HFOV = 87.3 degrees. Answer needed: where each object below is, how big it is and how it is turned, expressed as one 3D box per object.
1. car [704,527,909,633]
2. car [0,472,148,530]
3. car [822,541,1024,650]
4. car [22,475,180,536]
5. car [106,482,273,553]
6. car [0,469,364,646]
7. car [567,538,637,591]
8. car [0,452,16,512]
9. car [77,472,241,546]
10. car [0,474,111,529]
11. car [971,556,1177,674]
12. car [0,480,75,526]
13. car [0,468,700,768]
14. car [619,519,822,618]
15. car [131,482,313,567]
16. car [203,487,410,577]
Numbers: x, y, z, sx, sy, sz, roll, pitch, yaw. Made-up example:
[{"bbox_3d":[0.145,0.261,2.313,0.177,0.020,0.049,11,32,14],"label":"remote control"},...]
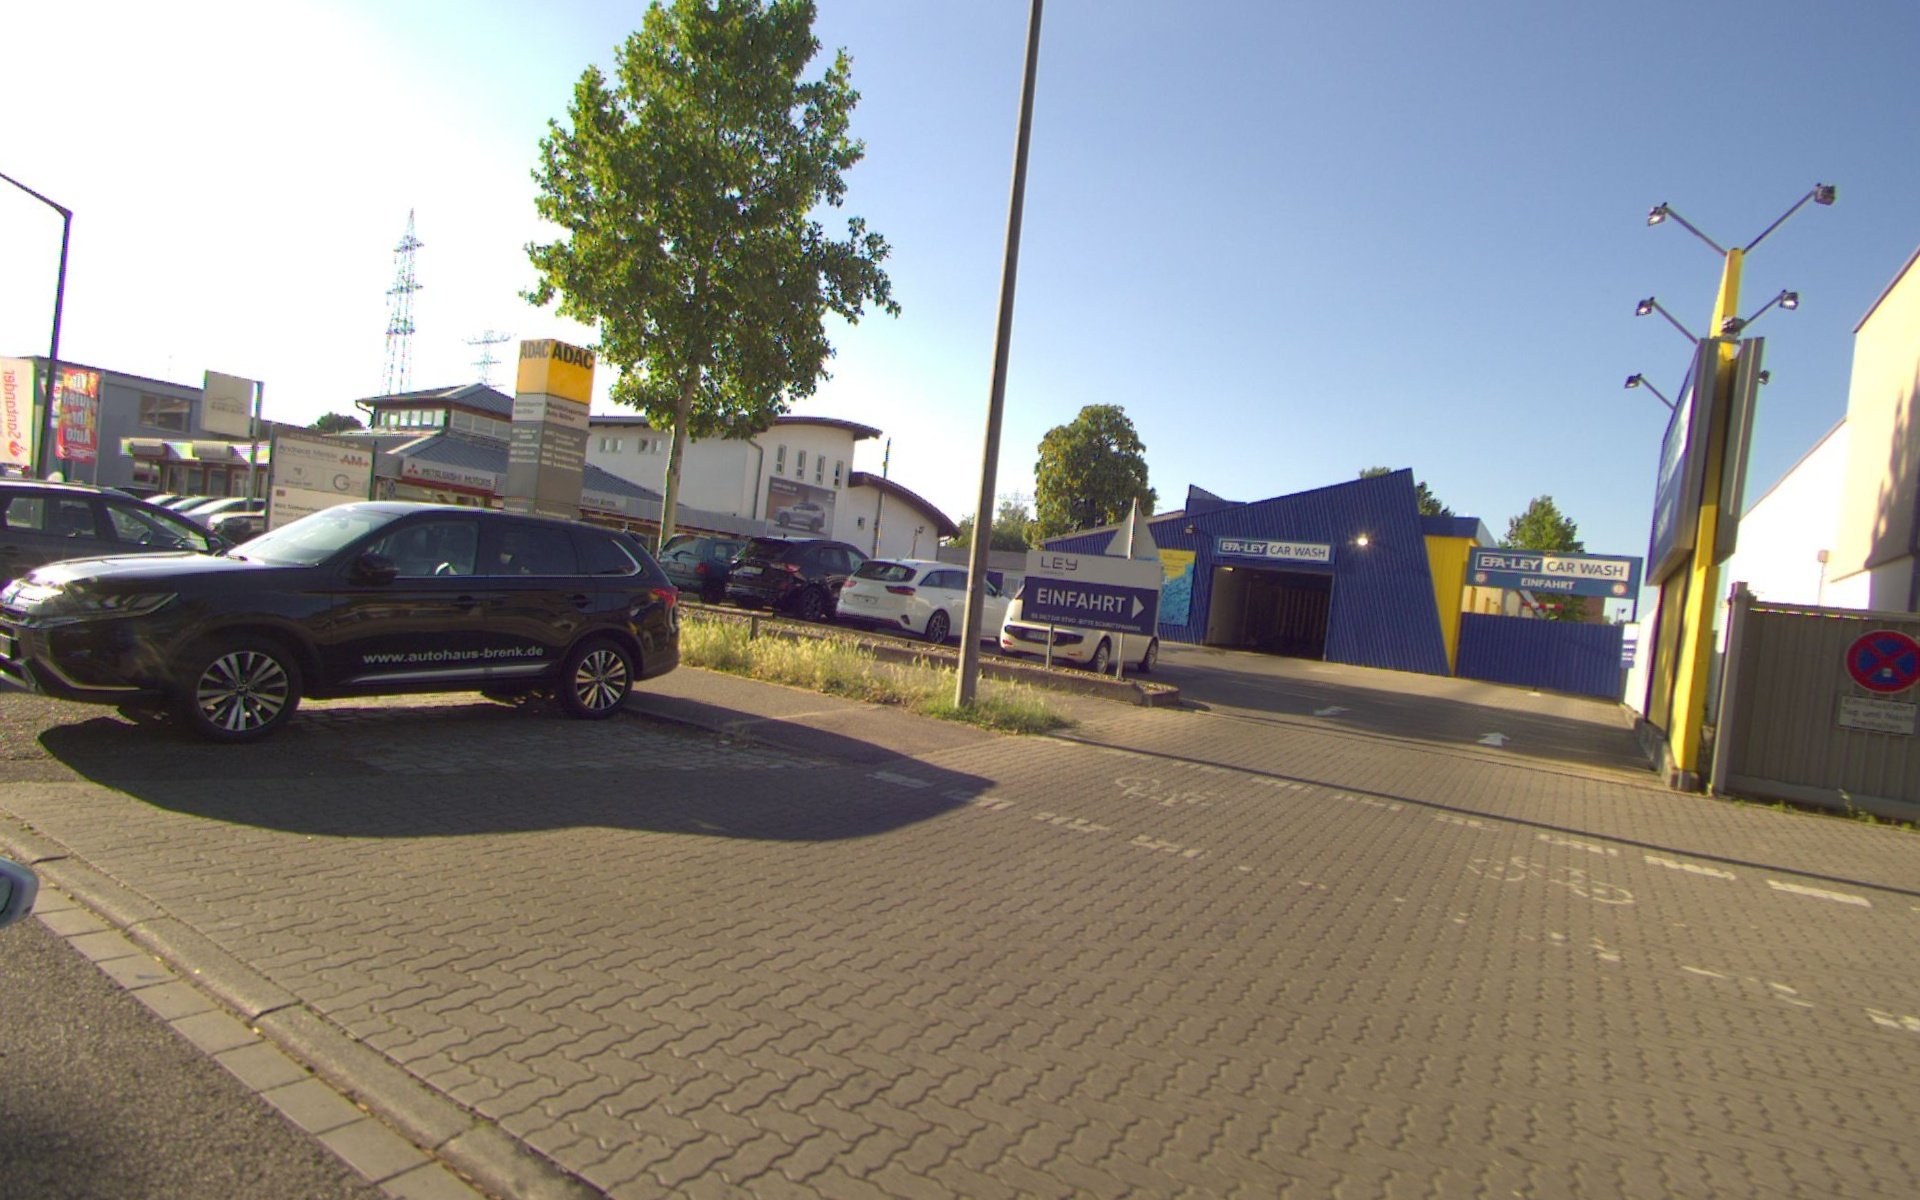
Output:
[{"bbox_3d":[-2.971,-0.340,20.350,1.965,1.614,3.996,6,-1,28],"label":"car"},{"bbox_3d":[-34.150,-3.787,38.797,1.967,1.682,3.987,6,2,32],"label":"car"},{"bbox_3d":[-0.569,-0.013,18.870,1.919,1.537,3.996,6,-1,28],"label":"car"},{"bbox_3d":[-31.361,-3.420,36.828,1.967,1.719,3.987,6,2,32],"label":"car"},{"bbox_3d":[-25.021,-2.648,32.788,2.165,1.925,3.797,7,4,32],"label":"car"},{"bbox_3d":[-9.187,-0.467,10.597,1.967,1.635,4.599,6,3,32],"label":"car"},{"bbox_3d":[-13.385,-1.288,37.778,1.708,1.652,3.573,7,-1,-9],"label":"car"},{"bbox_3d":[-46.680,-5.754,47.119,6.037,2.657,1.996,6,-1,32],"label":"car"},{"bbox_3d":[-27.146,-3.039,34.206,1.758,1.921,3.906,4,-1,32],"label":"car"},{"bbox_3d":[-36.835,-3.971,40.117,1.967,1.795,4.144,6,2,32],"label":"car"},{"bbox_3d":[2.029,0.327,16.794,1.965,1.515,3.996,6,-1,28],"label":"car"},{"bbox_3d":[-45.232,-4.738,49.043,3.934,1.821,1.996,6,-1,32],"label":"car"},{"bbox_3d":[-4.508,0.046,7.825,1.968,1.601,4.596,6,3,34],"label":"car"},{"bbox_3d":[-5.005,-0.607,21.544,1.965,1.537,3.996,6,-1,28],"label":"car"},{"bbox_3d":[-22.994,-2.316,31.488,2.165,1.922,3.938,10,2,32],"label":"car"},{"bbox_3d":[-19.132,-1.937,29.664,2.166,1.921,4.502,6,-1,32],"label":"car"}]
